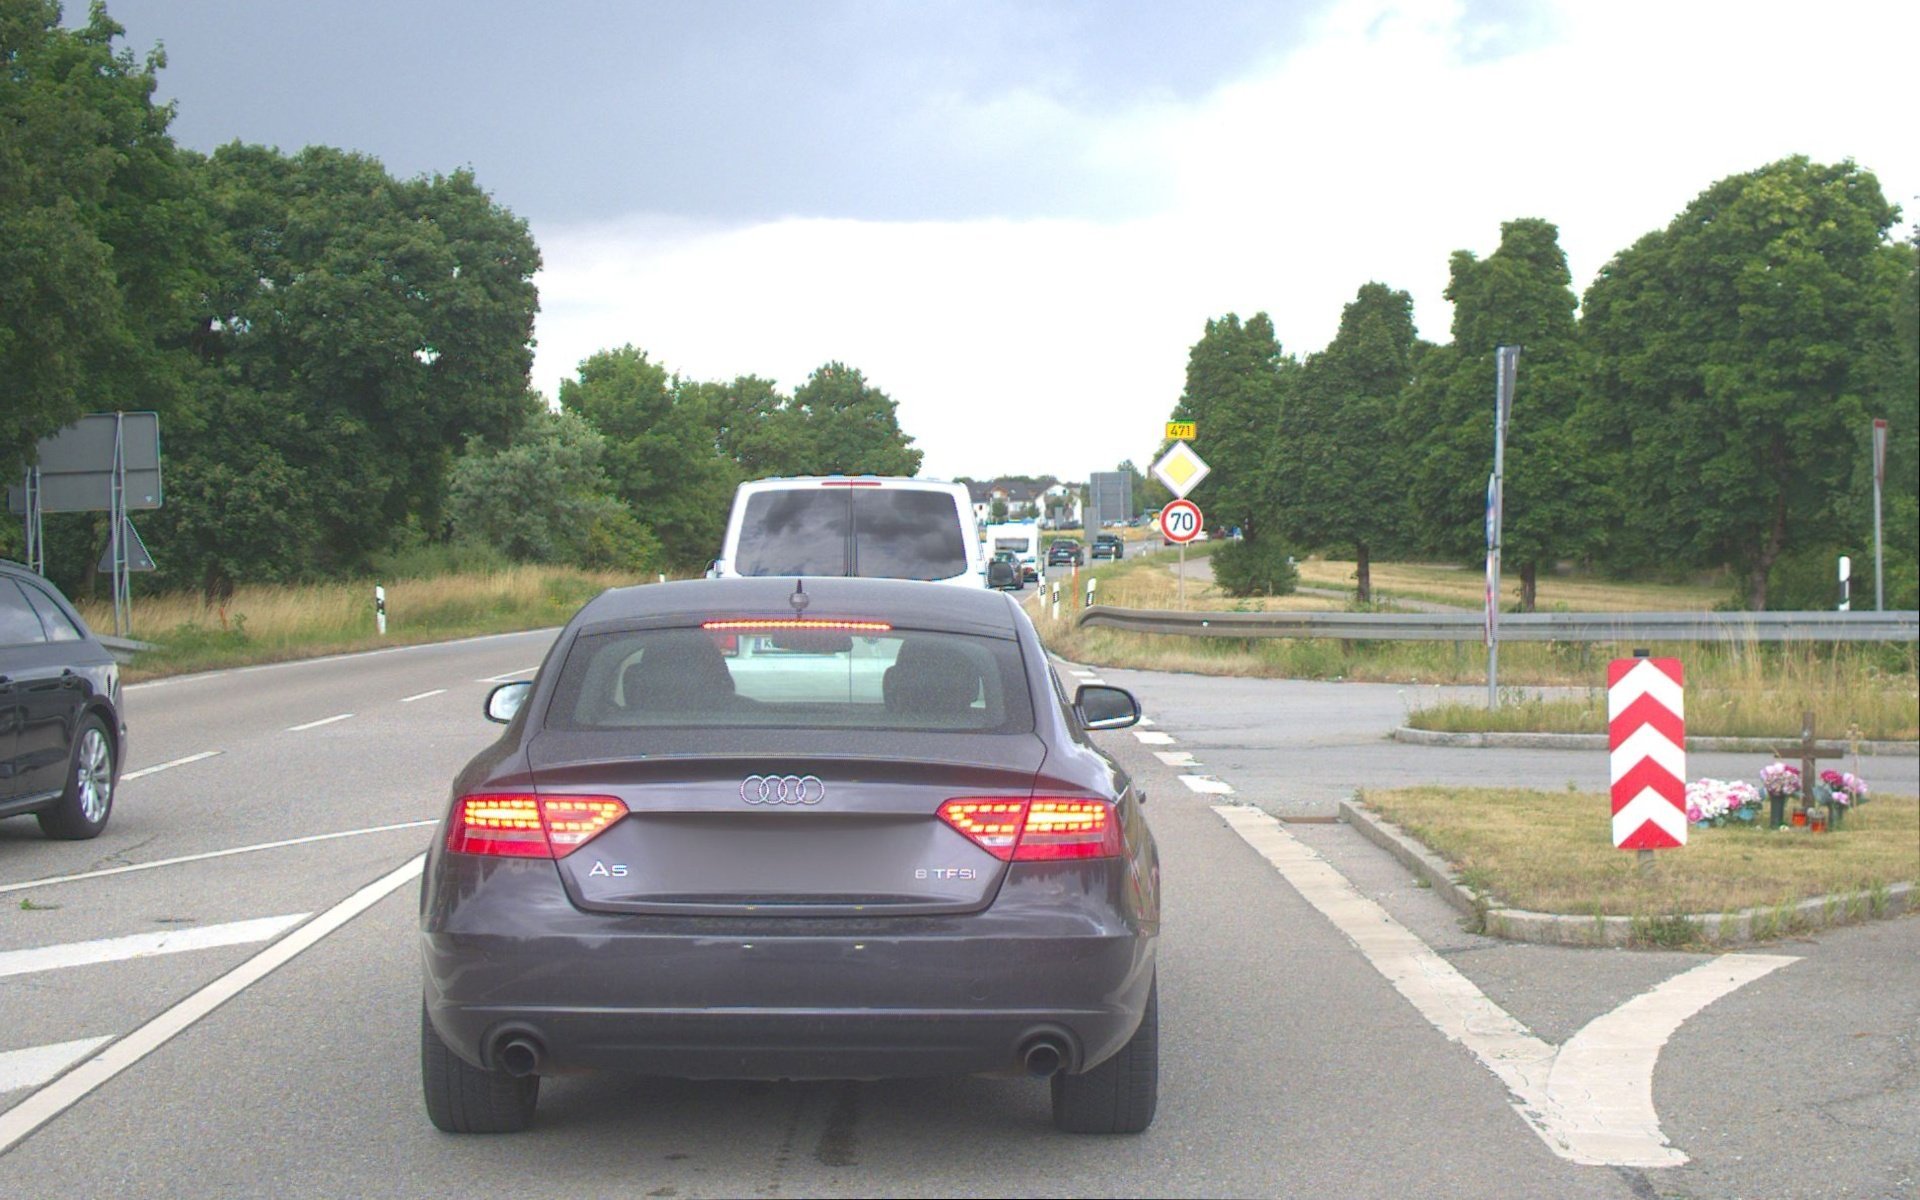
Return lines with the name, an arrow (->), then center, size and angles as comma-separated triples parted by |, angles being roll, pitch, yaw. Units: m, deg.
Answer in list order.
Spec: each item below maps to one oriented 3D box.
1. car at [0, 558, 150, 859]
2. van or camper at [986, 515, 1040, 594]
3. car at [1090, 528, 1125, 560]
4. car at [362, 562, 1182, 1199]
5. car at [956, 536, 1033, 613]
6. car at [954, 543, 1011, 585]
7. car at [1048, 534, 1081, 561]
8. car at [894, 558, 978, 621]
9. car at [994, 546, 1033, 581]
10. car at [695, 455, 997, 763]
car -> -5.315, 0.501, 15.805 | 1.820, 1.369, 4.611 | 0, 1, 4
van or camper -> 2.404, -2.054, 154.775 | 2.340, 3.469, 5.718 | 0, 1, 2
car -> 9.332, -3.554, 217.891 | 1.993, 2.007, 4.000 | 0, 1, -1
car -> -0.436, 0.614, 9.538 | 1.783, 1.372, 4.000 | 1, 1, -1
car -> 0.981, -0.723, 95.728 | 1.994, 2.081, 4.000 | 0, 1, 2
car -> 0.825, -1.312, 125.065 | 1.736, 1.509, 3.746 | 0, 1, 5
car -> 5.814, -2.918, 190.958 | 1.719, 1.446, 4.000 | 1, 1, 1
car -> -0.548, -0.263, 81.588 | 1.796, 1.459, 3.248 | 0, 1, 3
car -> 2.144, -1.462, 137.156 | 1.258, 1.349, 3.465 | 0, 1, 5
car -> -0.725, 0.013, 23.154 | 1.838, 1.876, 4.000 | 1, 1, -1
